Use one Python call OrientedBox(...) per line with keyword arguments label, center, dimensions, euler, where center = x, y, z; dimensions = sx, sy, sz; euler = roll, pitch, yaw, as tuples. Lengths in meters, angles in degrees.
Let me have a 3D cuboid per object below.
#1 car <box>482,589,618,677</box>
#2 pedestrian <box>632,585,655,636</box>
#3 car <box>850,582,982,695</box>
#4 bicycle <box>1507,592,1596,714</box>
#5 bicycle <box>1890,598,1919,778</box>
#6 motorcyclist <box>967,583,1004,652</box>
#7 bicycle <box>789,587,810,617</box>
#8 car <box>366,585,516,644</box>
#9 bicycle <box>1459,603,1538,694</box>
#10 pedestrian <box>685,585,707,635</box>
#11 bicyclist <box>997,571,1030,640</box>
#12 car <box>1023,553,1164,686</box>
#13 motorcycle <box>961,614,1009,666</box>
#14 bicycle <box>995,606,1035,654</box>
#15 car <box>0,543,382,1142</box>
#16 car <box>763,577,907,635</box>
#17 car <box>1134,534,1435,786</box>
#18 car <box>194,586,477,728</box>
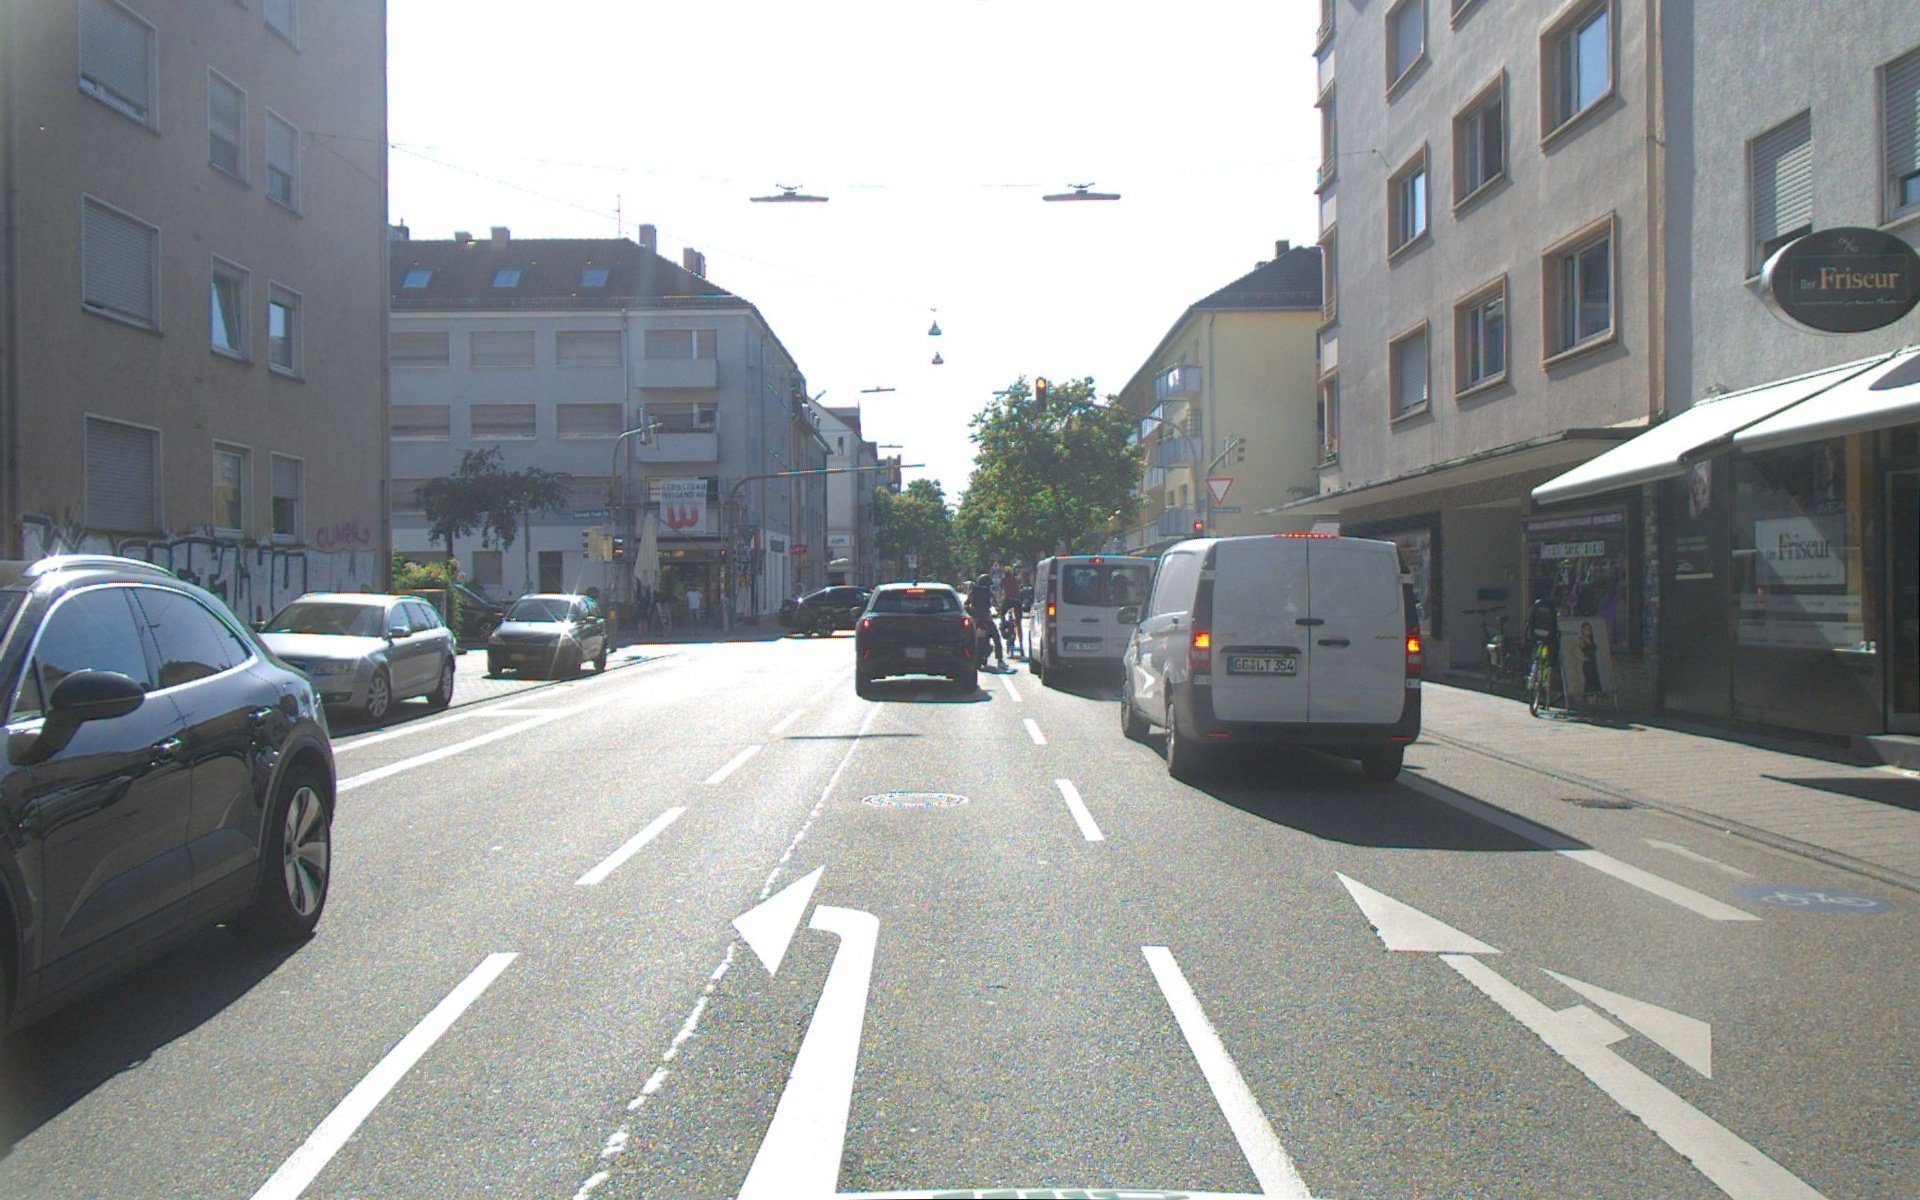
OrientedBox(label="car", center=(-7.606, 0.571, 31.020), dimensions=(1.620, 1.505, 3.999), euler=(1, 0, -2))
OrientedBox(label="pedestrian", center=(-10.694, 0.347, 55.869), dimensions=(0.670, 1.692, 0.601), euler=(0, 0, -2))
OrientedBox(label="car", center=(-0.666, 0.519, 24.767), dimensions=(1.807, 1.534, 3.999), euler=(0, 0, -2))
OrientedBox(label="bicycle", center=(6.597, 0.569, 18.507), dimensions=(0.465, 1.296, 1.218), euler=(-3, 0, -1))
OrientedBox(label="bicycle", center=(7.174, 0.639, 11.318), dimensions=(0.537, 1.291, 1.883), euler=(0, 0, -1))
OrientedBox(label="motorcyclist", center=(0.473, 0.321, 30.542), dimensions=(0.645, 1.248, 0.694), euler=(0, 0, -2))
OrientedBox(label="bicycle", center=(-6.056, 0.076, 62.330), dimensions=(0.552, 1.104, 1.104), euler=(0, 0, 7))
OrientedBox(label="car", center=(-15.174, 0.415, 48.508), dimensions=(3.908, 1.654, 1.542), euler=(0, 0, -4))
OrientedBox(label="bicycle", center=(7.067, 0.615, 21.759), dimensions=(0.513, 1.138, 1.534), euler=(0, 0, -1))
OrientedBox(label="pedestrian", center=(-9.078, 0.334, 56.851), dimensions=(0.670, 1.692, 0.601), euler=(0, 0, -2))
OrientedBox(label="bicyclist", center=(1.159, 0.118, 35.978), dimensions=(0.670, 1.474, 0.940), euler=(0, 0, -2))
OrientedBox(label="car", center=(2.068, 0.281, 26.894), dimensions=(1.779, 1.955, 4.643), euler=(0, 0, -2))
OrientedBox(label="motorcycle", center=(0.452, 0.725, 30.623), dimensions=(0.791, 0.878, 1.822), euler=(2, 0, -2))
OrientedBox(label="bicycle", center=(1.186, 0.635, 36.133), dimensions=(0.759, 1.009, 1.717), euler=(0, 0, -2))
OrientedBox(label="car", center=(-3.581, 0.669, 5.543), dimensions=(1.829, 1.642, 4.426), euler=(-1, 0, -2))
OrientedBox(label="car", center=(-3.767, 0.169, 49.886), dimensions=(3.934, 1.668, 1.985), euler=(0, 0, -24))
OrientedBox(label="car", center=(2.629, 0.430, 14.470), dimensions=(1.943, 1.854, 4.548), euler=(0, 0, 3))
OrientedBox(label="car", center=(-7.584, 0.627, 20.632), dimensions=(1.741, 1.495, 4.758), euler=(2, 0, -1))
